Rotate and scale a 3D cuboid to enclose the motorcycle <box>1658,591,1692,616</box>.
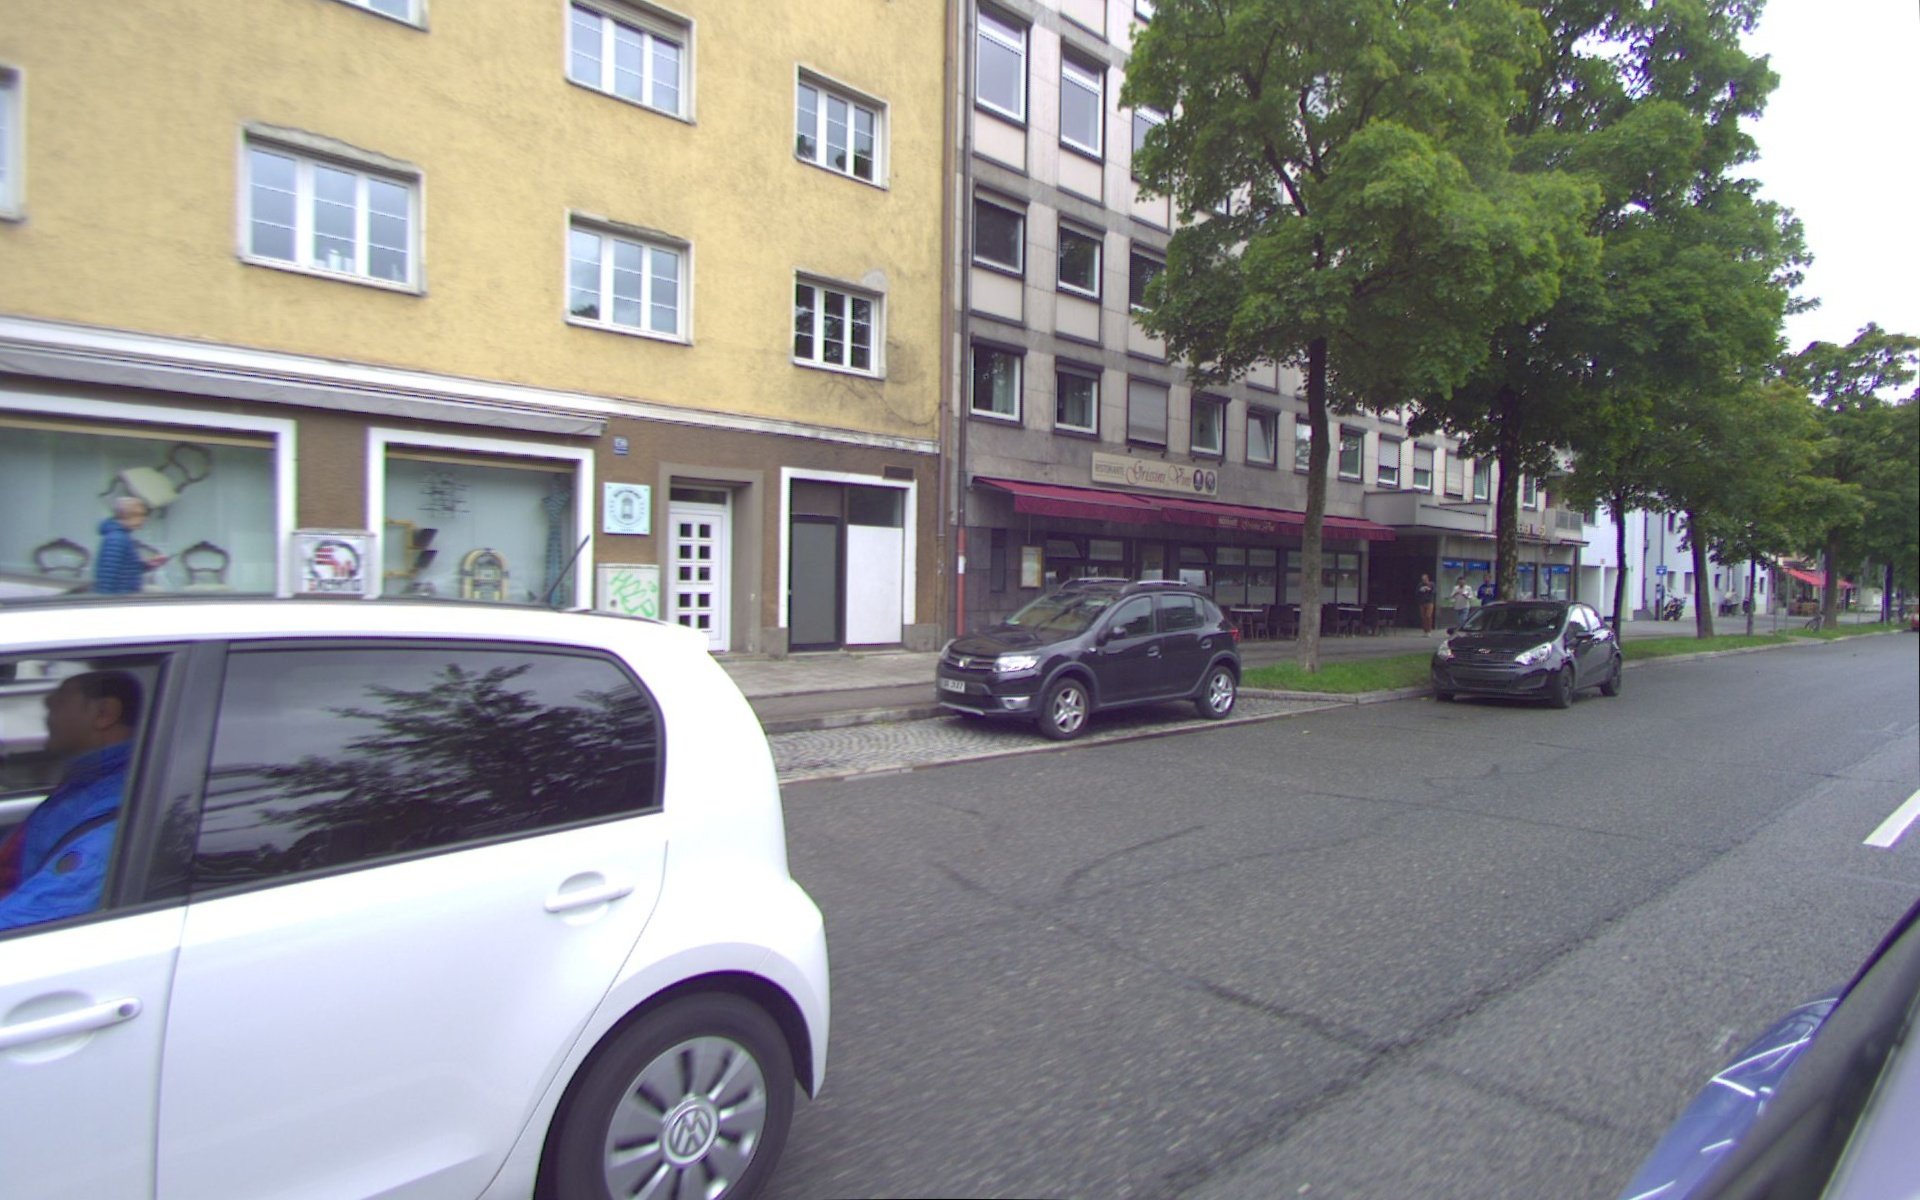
[{"bbox_3d":[33.668,0.153,47.649,2.160,1.099,0.763,0,1,-40],"label":"motorcycle"}]

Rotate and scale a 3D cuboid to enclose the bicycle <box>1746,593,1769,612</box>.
[{"bbox_3d":[47.670,0.152,60.491,2.156,1.059,0.623,0,5,-41],"label":"bicycle"}]

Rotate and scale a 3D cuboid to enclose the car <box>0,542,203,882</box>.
[{"bbox_3d":[-6.260,0.508,4.777,4.230,1.646,1.820,0,2,-40],"label":"car"}]

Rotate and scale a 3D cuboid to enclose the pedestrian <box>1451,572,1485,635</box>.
[{"bbox_3d":[13.626,0.089,27.161,0.630,1.649,0.550,0,2,-40],"label":"pedestrian"}]

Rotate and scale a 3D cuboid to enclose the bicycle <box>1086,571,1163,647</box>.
[{"bbox_3d":[3.327,0.166,20.393,1.658,1.482,0.581,0,1,-41],"label":"bicycle"}]

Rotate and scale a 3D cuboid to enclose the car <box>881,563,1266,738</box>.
[{"bbox_3d":[1.418,0.453,11.710,4.254,1.663,1.999,0,1,-38],"label":"car"}]

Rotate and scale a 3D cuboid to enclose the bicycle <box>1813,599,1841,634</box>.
[{"bbox_3d":[33.706,0.625,39.359,0.452,1.271,2.126,1,1,31],"label":"bicycle"}]

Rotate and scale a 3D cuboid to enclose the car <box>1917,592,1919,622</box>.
[{"bbox_3d":[48.456,0.354,49.353,3.920,1.459,1.528,0,1,-30],"label":"car"}]

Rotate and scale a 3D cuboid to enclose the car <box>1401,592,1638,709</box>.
[{"bbox_3d":[8.326,0.627,14.924,3.934,1.470,1.995,0,1,-44],"label":"car"}]

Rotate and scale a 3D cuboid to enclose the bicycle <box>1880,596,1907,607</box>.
[{"bbox_3d":[97.270,0.189,105.483,0.653,1.081,2.028,0,1,-44],"label":"bicycle"}]

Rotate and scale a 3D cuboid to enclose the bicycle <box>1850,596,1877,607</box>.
[{"bbox_3d":[95.687,0.173,107.189,0.653,1.081,2.028,0,1,-44],"label":"bicycle"}]

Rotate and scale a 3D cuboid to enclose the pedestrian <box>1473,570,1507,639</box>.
[{"bbox_3d":[13.767,0.100,26.276,0.720,1.754,0.501,0,2,-40],"label":"pedestrian"}]

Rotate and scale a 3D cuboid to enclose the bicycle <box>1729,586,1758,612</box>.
[{"bbox_3d":[44.799,-0.080,57.832,2.547,1.424,0.704,0,5,-41],"label":"bicycle"}]

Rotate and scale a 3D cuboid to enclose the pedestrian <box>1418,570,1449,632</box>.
[{"bbox_3d":[12.941,0.020,27.661,0.541,1.661,0.713,2,1,43],"label":"pedestrian"}]

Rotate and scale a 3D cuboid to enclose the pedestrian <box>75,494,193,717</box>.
[{"bbox_3d":[-7.382,0.025,9.043,0.763,1.878,0.793,0,3,-43],"label":"pedestrian"}]

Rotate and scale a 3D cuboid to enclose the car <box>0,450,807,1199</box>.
[{"bbox_3d":[-2.168,0.538,1.881,3.376,1.509,1.689,0,0,-42],"label":"car"}]
